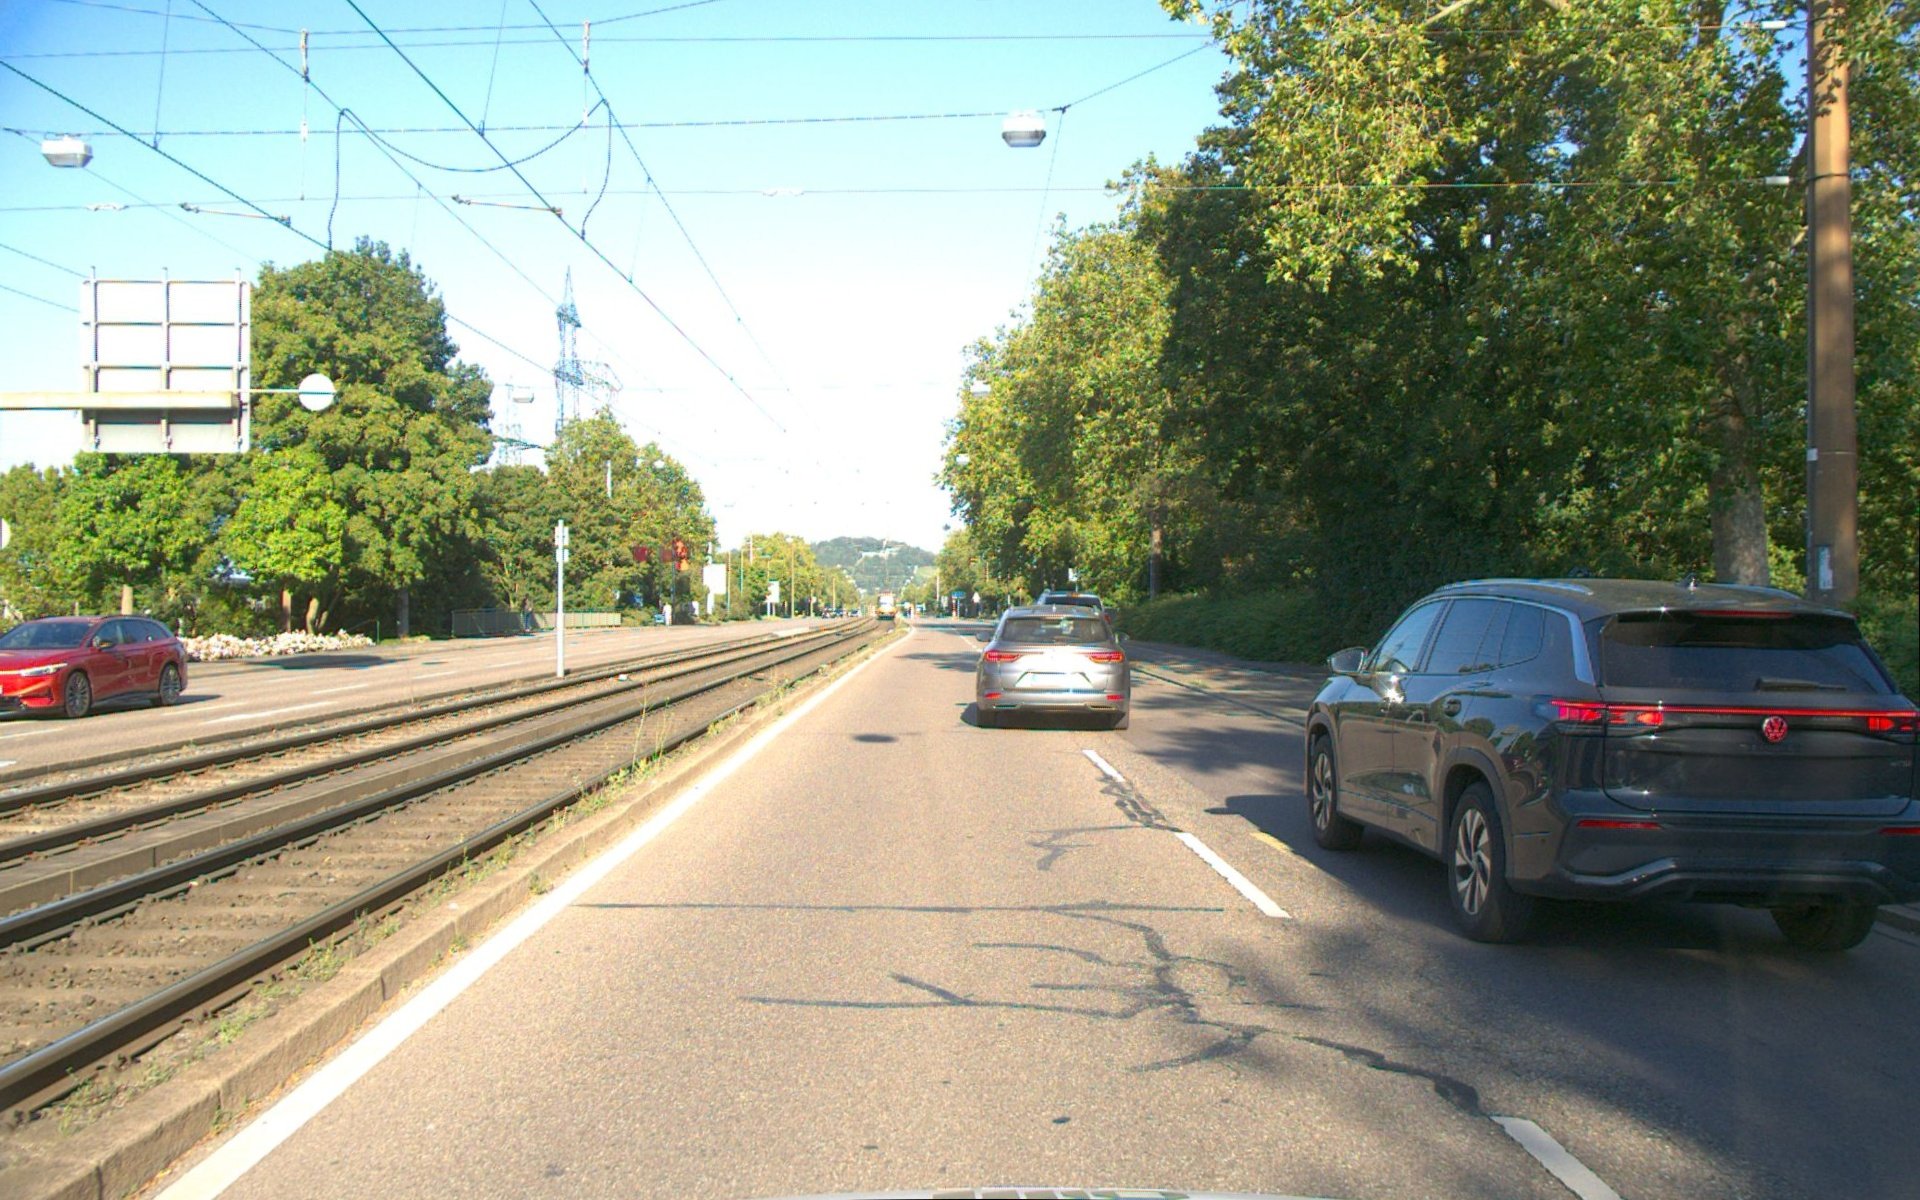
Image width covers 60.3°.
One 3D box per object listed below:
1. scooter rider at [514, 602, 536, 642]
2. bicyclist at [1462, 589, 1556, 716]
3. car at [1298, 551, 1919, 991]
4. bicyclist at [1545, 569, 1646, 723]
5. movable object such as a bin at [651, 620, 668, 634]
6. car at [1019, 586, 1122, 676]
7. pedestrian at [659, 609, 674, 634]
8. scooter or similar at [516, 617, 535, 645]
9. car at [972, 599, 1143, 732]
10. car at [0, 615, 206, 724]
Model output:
[{"bbox_3d":[-21.020,1.064,79.951,0.667,1.881,1.001,-1,-1,6],"label":"scooter rider"},{"bbox_3d":[5.598,0.519,16.913,0.628,1.247,0.890,-1,0,-2],"label":"bicyclist"},{"bbox_3d":[3.206,0.691,8.690,1.807,1.690,4.438,1,0,-2],"label":"car"},{"bbox_3d":[6.521,0.461,17.006,0.671,1.535,0.890,0,0,-2],"label":"bicyclist"},{"bbox_3d":[-22.187,1.975,122.058,0.709,0.978,1.101,2,-2,20],"label":"movable object such as a bin"},{"bbox_3d":[2.426,0.657,37.152,1.845,1.827,3.998,2,0,-2],"label":"car"},{"bbox_3d":[-21.846,1.620,122.973,0.709,1.787,0.835,2,-2,20],"label":"pedestrian"},{"bbox_3d":[-21.015,1.509,79.969,0.462,1.319,1.263,0,-1,5],"label":"scooter or similar"},{"bbox_3d":[1.117,0.768,20.969,1.828,1.493,4.665,0,-1,-1],"label":"car"},{"bbox_3d":[-14.206,1.040,26.579,1.998,1.529,4.886,0,0,-1],"label":"car"}]
